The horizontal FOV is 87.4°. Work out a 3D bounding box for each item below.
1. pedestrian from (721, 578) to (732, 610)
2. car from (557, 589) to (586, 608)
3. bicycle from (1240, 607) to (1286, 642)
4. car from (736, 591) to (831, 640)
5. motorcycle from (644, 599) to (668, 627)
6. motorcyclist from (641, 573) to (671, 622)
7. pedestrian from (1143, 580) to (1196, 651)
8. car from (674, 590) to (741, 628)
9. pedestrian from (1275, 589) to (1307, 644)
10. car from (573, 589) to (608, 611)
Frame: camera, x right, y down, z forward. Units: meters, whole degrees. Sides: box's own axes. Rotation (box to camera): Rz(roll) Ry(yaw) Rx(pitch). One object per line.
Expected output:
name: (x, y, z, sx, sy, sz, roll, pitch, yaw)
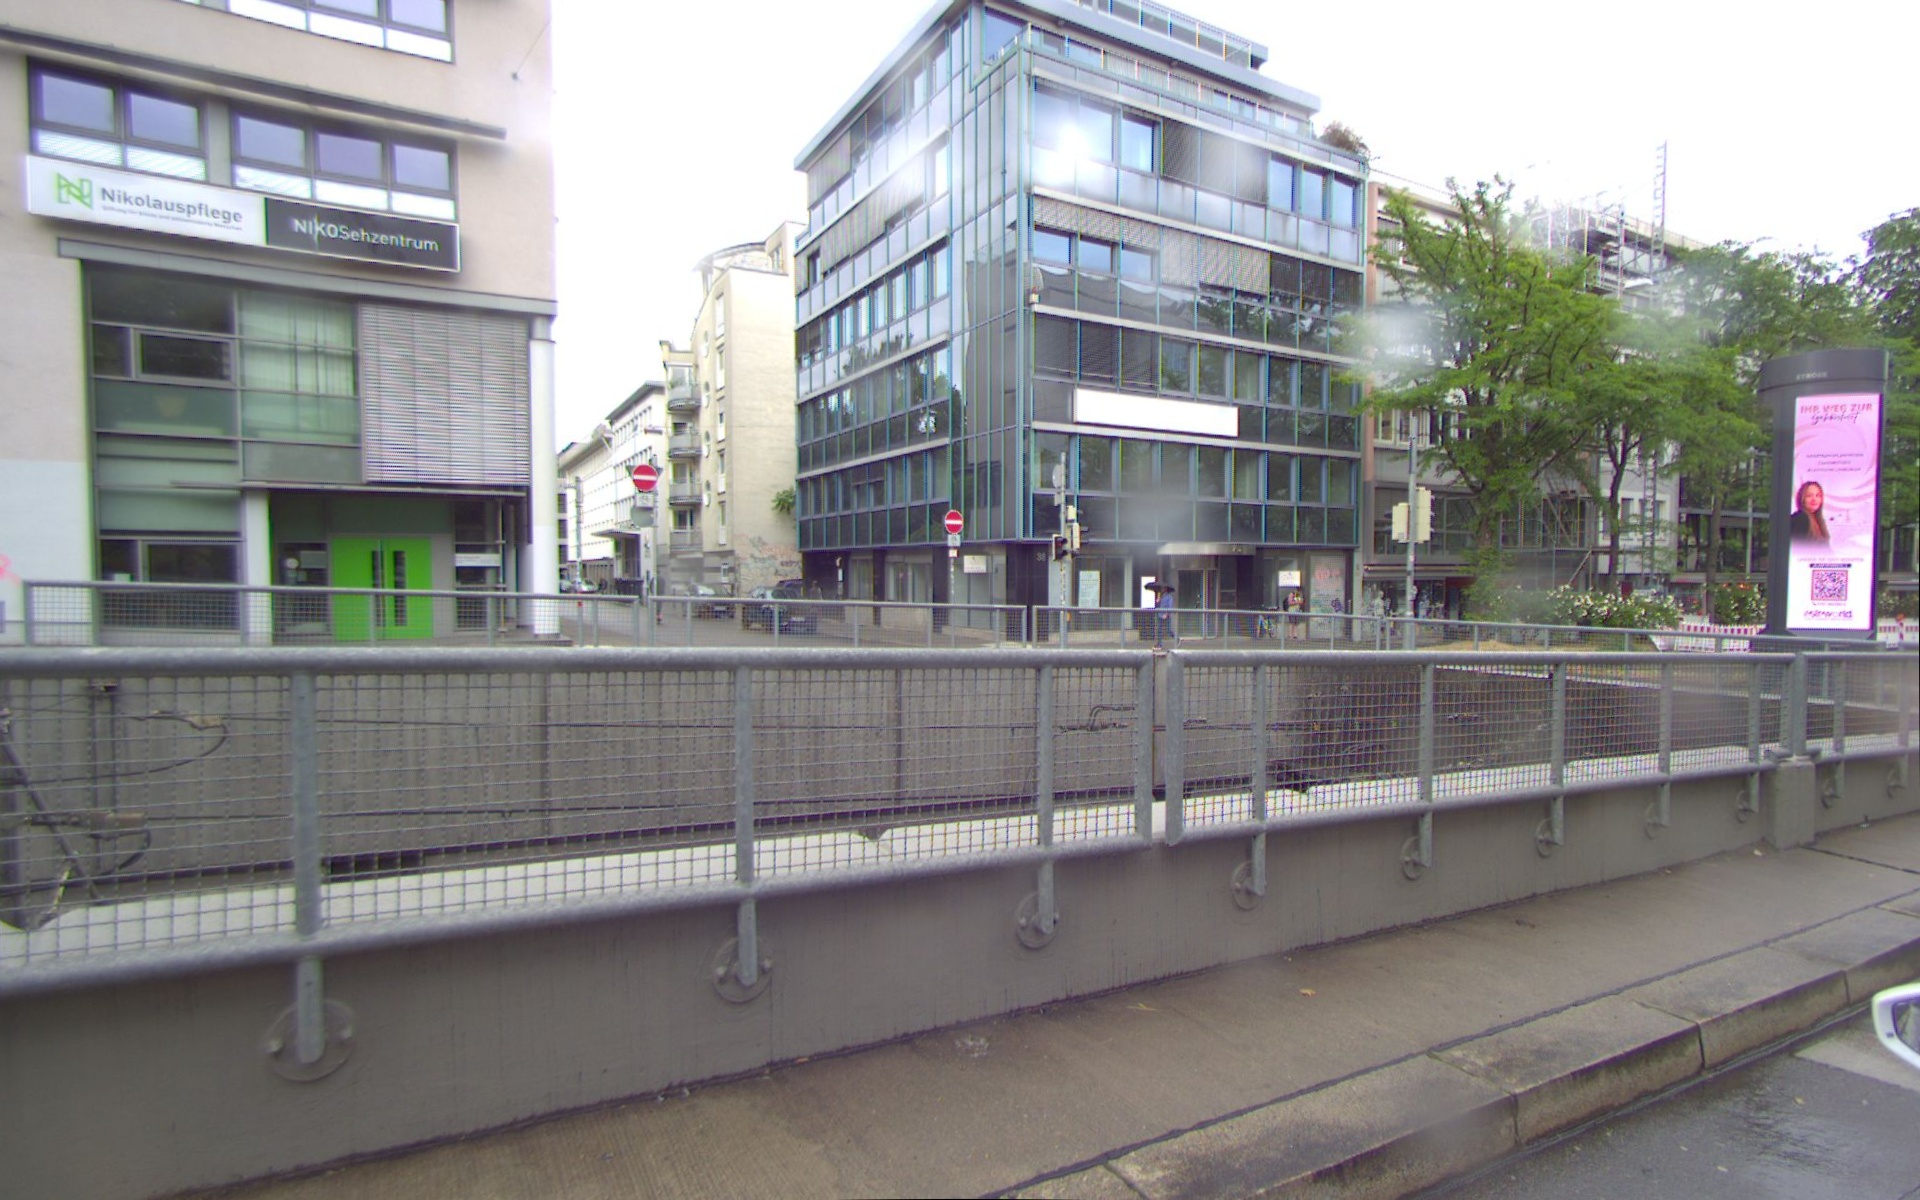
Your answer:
pedestrian: (-12.376, -0.323, 53.306, 0.443, 1.664, 0.326, 1, 2, -35)
car: (-34.128, -0.131, 88.211, 1.777, 1.578, 3.967, 1, 0, -30)
bicycle: (9.862, 0.805, 32.721, 1.544, 1.100, 0.444, 1, 1, -27)
car: (-6.247, 0.505, 35.170, 1.977, 1.578, 3.966, 1, 0, -31)
motorcycle: (-11.552, 0.486, 38.171, 0.696, 0.984, 0.977, 1, 2, -29)
motorcyclist: (-11.546, -0.093, 38.150, 0.850, 1.832, 1.007, 1, 2, -29)
pedestrian: (5.716, 0.418, 27.429, 1.047, 1.863, 0.853, 1, 2, -30)
car: (-11.112, 0.364, 44.109, 1.777, 1.578, 3.966, 1, 0, -31)
pedestrian: (10.942, 0.551, 33.229, 0.688, 1.765, 0.691, 1, 2, -35)
car: (-27.995, -0.001, 75.995, 1.777, 1.578, 3.967, 1, 0, -30)
